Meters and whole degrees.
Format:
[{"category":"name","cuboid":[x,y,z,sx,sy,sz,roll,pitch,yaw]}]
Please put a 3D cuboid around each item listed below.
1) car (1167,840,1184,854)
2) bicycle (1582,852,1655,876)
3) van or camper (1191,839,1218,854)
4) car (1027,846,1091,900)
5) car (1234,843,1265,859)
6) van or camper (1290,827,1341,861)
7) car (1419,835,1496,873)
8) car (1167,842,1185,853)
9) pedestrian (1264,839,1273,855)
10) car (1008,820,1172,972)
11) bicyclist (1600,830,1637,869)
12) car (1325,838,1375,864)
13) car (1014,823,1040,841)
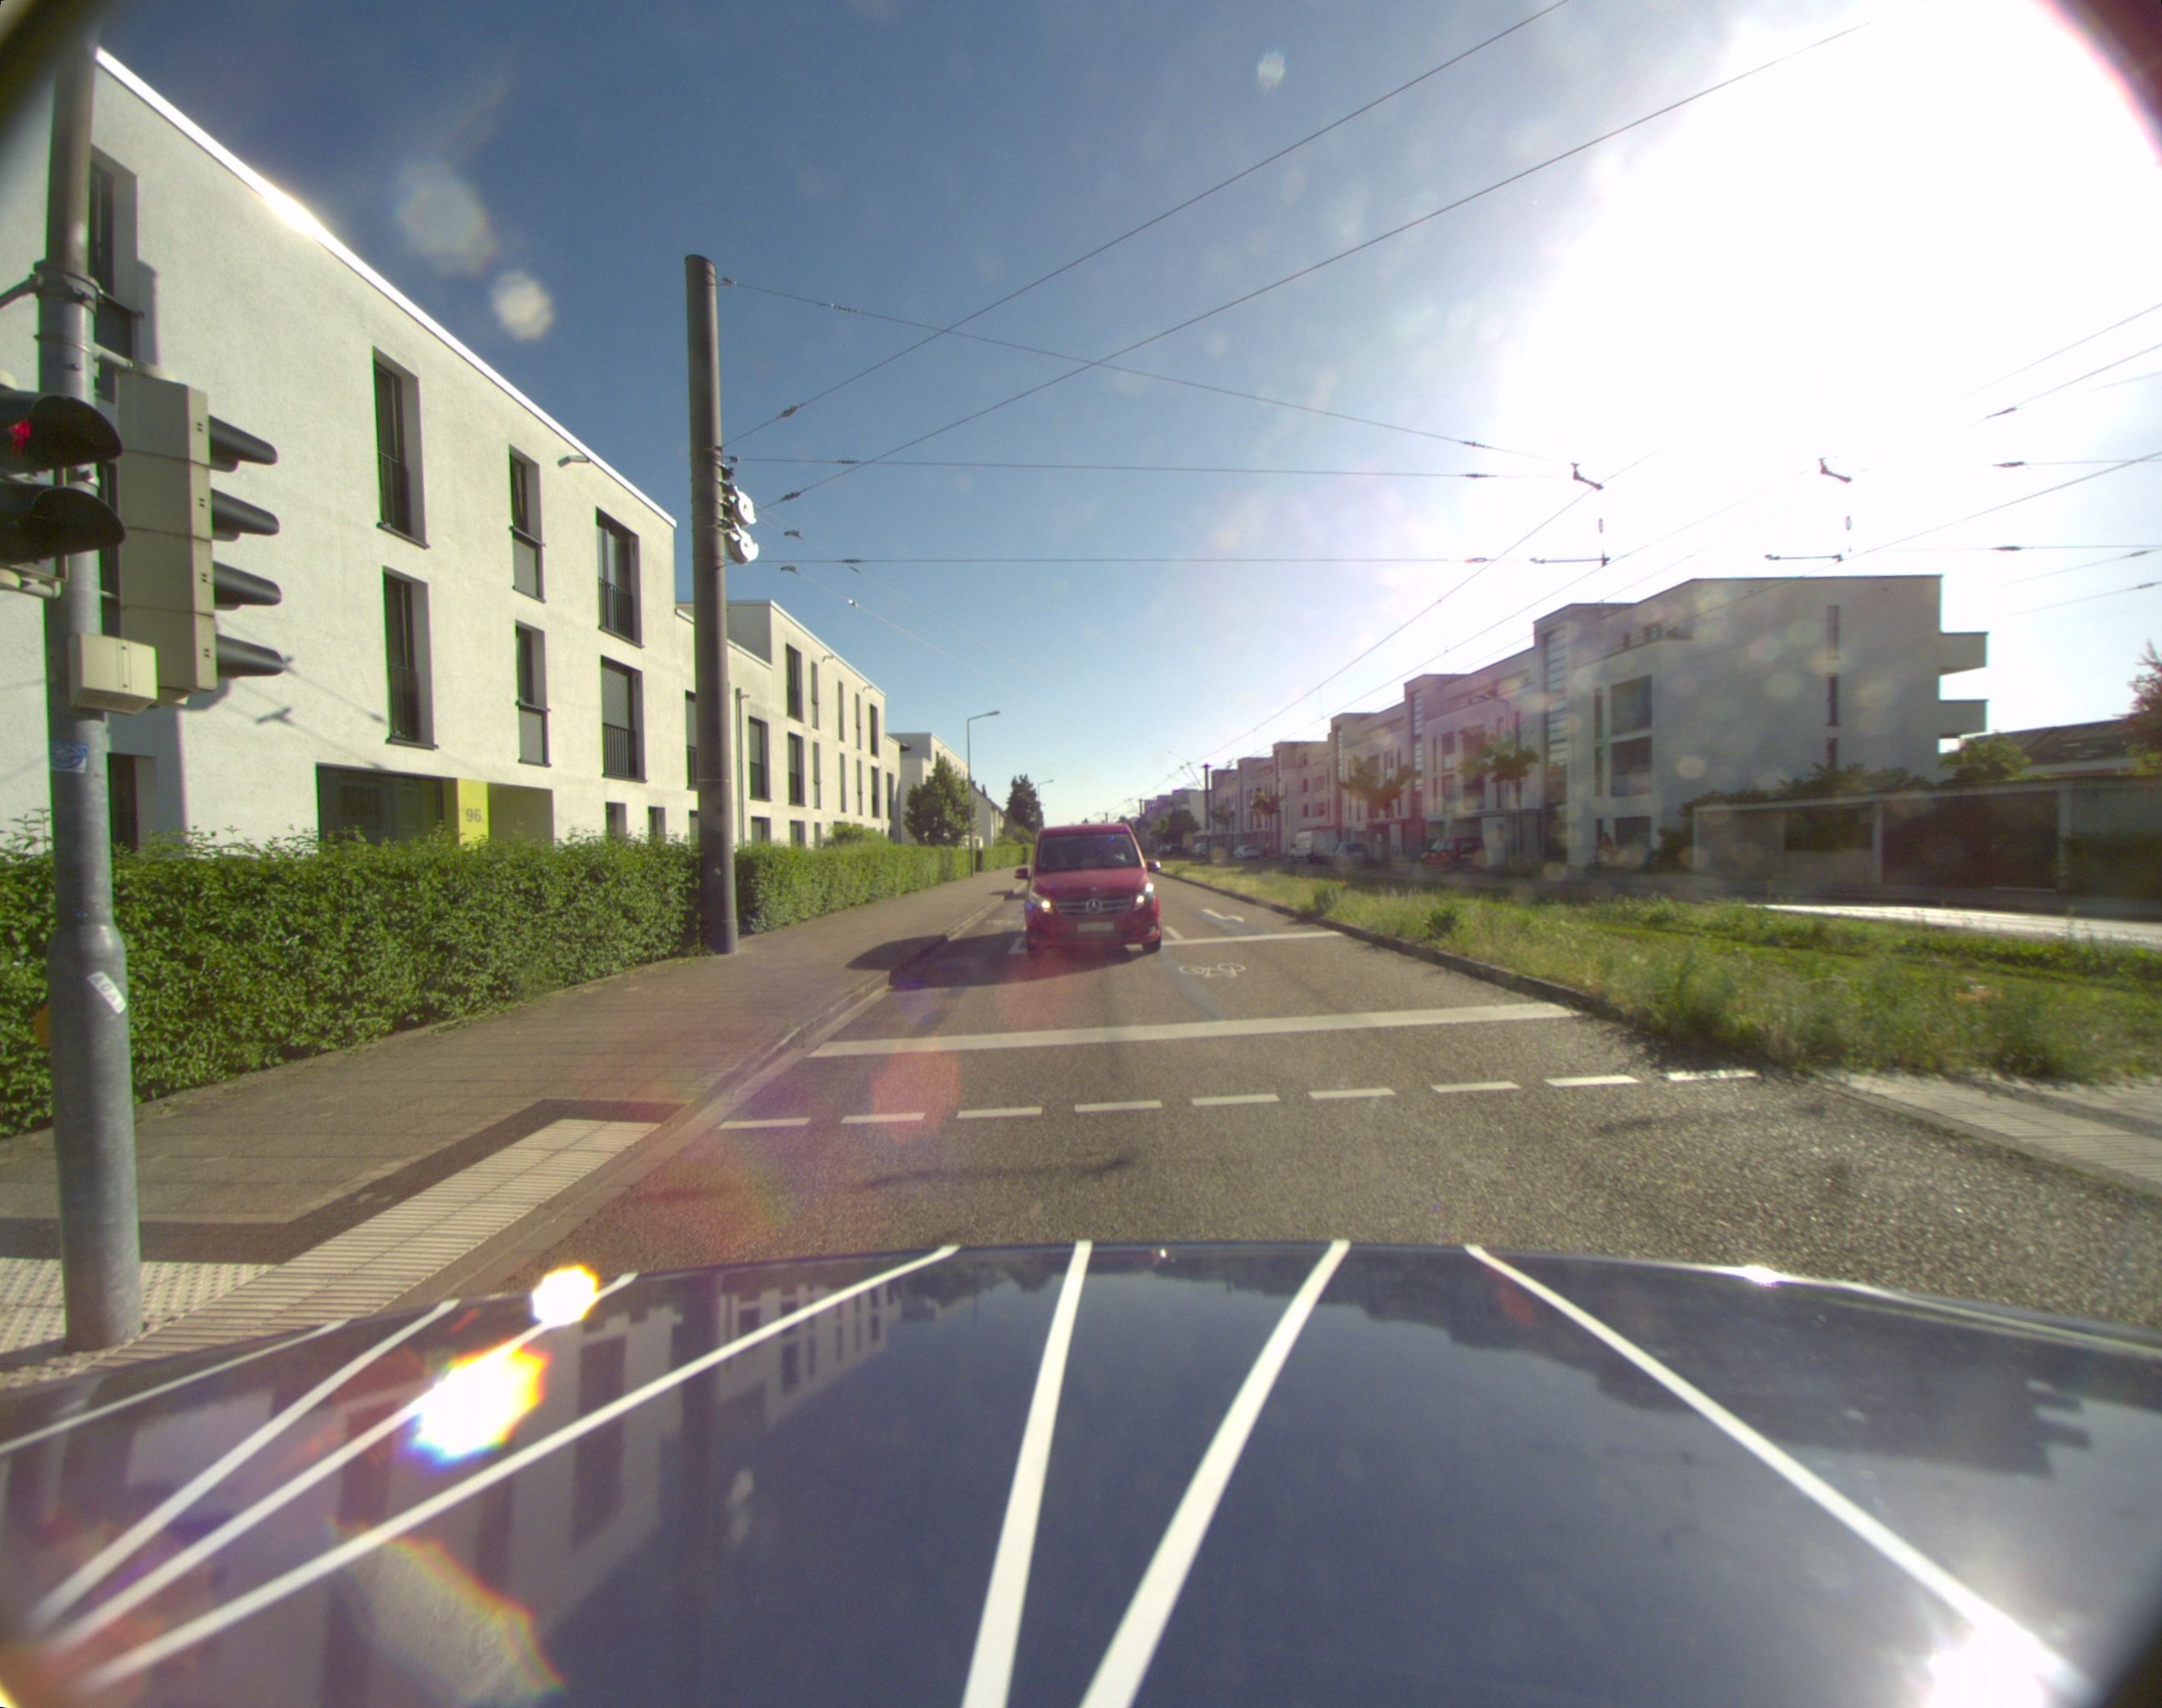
[{"category":"car","cuboid":[14.648,-1.076,117.778,1.788,2.002,3.998,-3,1,-4]},{"category":"bicycle","cuboid":[20.806,0.367,29.496,0.902,0.887,2.482,-1,1,-6]},{"category":"van or camper","cuboid":[16.093,-0.995,99.135,2.273,1.838,6.284,-2,1,-1]},{"category":"car","cuboid":[-0.885,0.594,27.396,1.999,1.663,4.405,-3,2,-5]},{"category":"car","cuboid":[17.165,-0.336,77.598,2.047,1.577,4.119,-1,1,-3]},{"category":"van or camper","cuboid":[17.563,-0.745,57.138,2.197,2.451,5.258,-1,1,-1]},{"category":"car","cuboid":[18.024,-0.031,36.618,1.793,1.713,3.907,0,1,1]},{"category":"car","cuboid":[13.751,-0.926,109.629,1.867,1.430,3.494,-3,2,-4]},{"category":"pedestrian","cuboid":[19.370,-0.743,78.595,0.619,1.634,0.612,-3,2,-7]},{"category":"car","cuboid":[0.147,0.544,12.881,2.127,1.958,5.083,-3,1,1]},{"category":"bicyclist","cuboid":[20.804,-0.192,29.428,0.892,1.482,0.745,-1,1,-6]},{"category":"car","cuboid":[17.761,-0.231,50.334,1.934,1.604,3.835,-1,1,0]},{"category":"car","cuboid":[-7.937,-3.213,112.232,3.182,2.333,6.174,-3,1,1]}]
